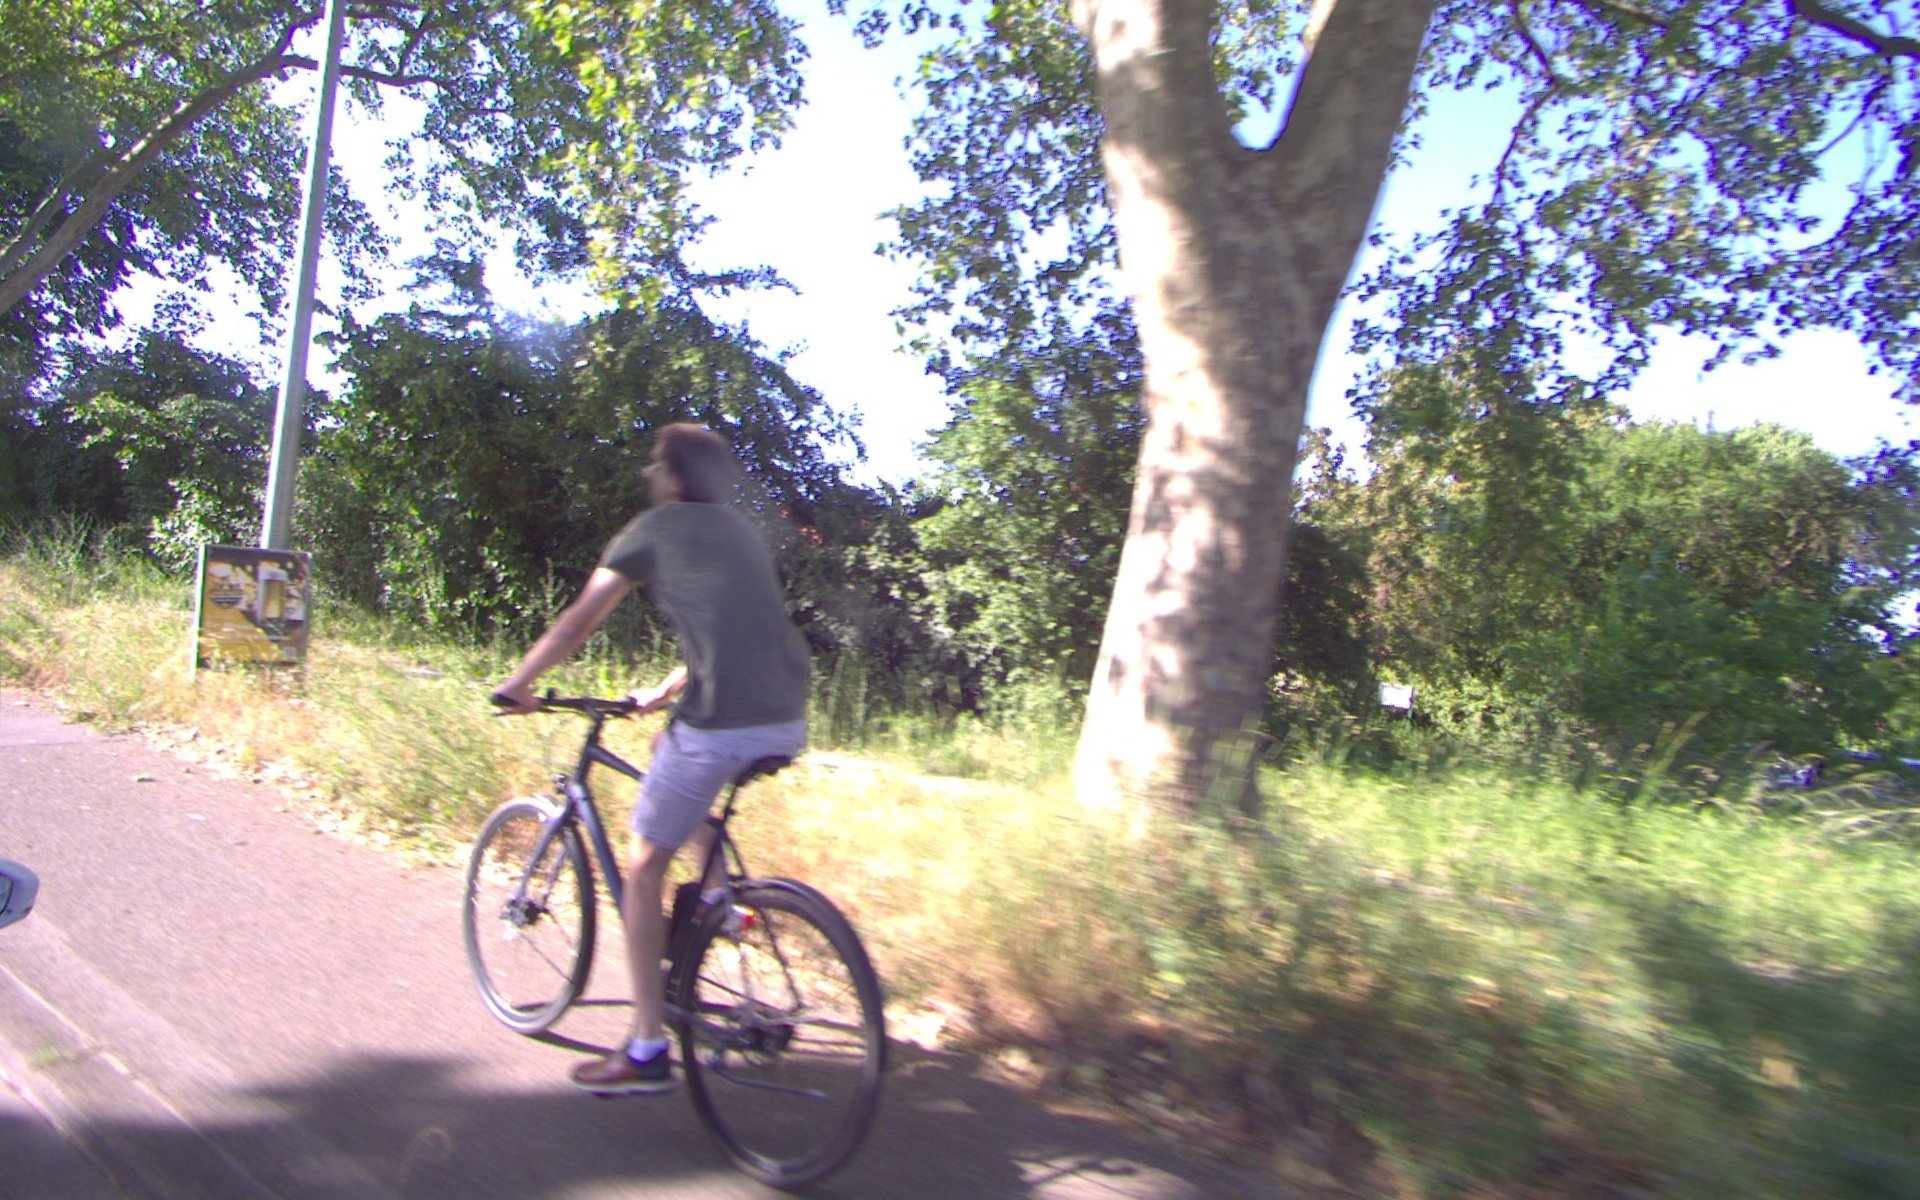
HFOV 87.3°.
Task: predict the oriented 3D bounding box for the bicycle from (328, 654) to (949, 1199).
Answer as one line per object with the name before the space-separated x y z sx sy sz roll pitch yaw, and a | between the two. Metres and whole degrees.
bicycle | -0.968 0.838 2.776 1.793 1.166 0.441 5 -3 32

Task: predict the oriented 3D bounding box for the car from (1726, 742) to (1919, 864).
car | 18.966 4.228 21.066 2.249 1.895 5.158 7 -3 8

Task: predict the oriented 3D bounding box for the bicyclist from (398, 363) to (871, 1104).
bicyclist | -0.873 0.281 2.720 0.894 1.648 0.614 6 -1 31
